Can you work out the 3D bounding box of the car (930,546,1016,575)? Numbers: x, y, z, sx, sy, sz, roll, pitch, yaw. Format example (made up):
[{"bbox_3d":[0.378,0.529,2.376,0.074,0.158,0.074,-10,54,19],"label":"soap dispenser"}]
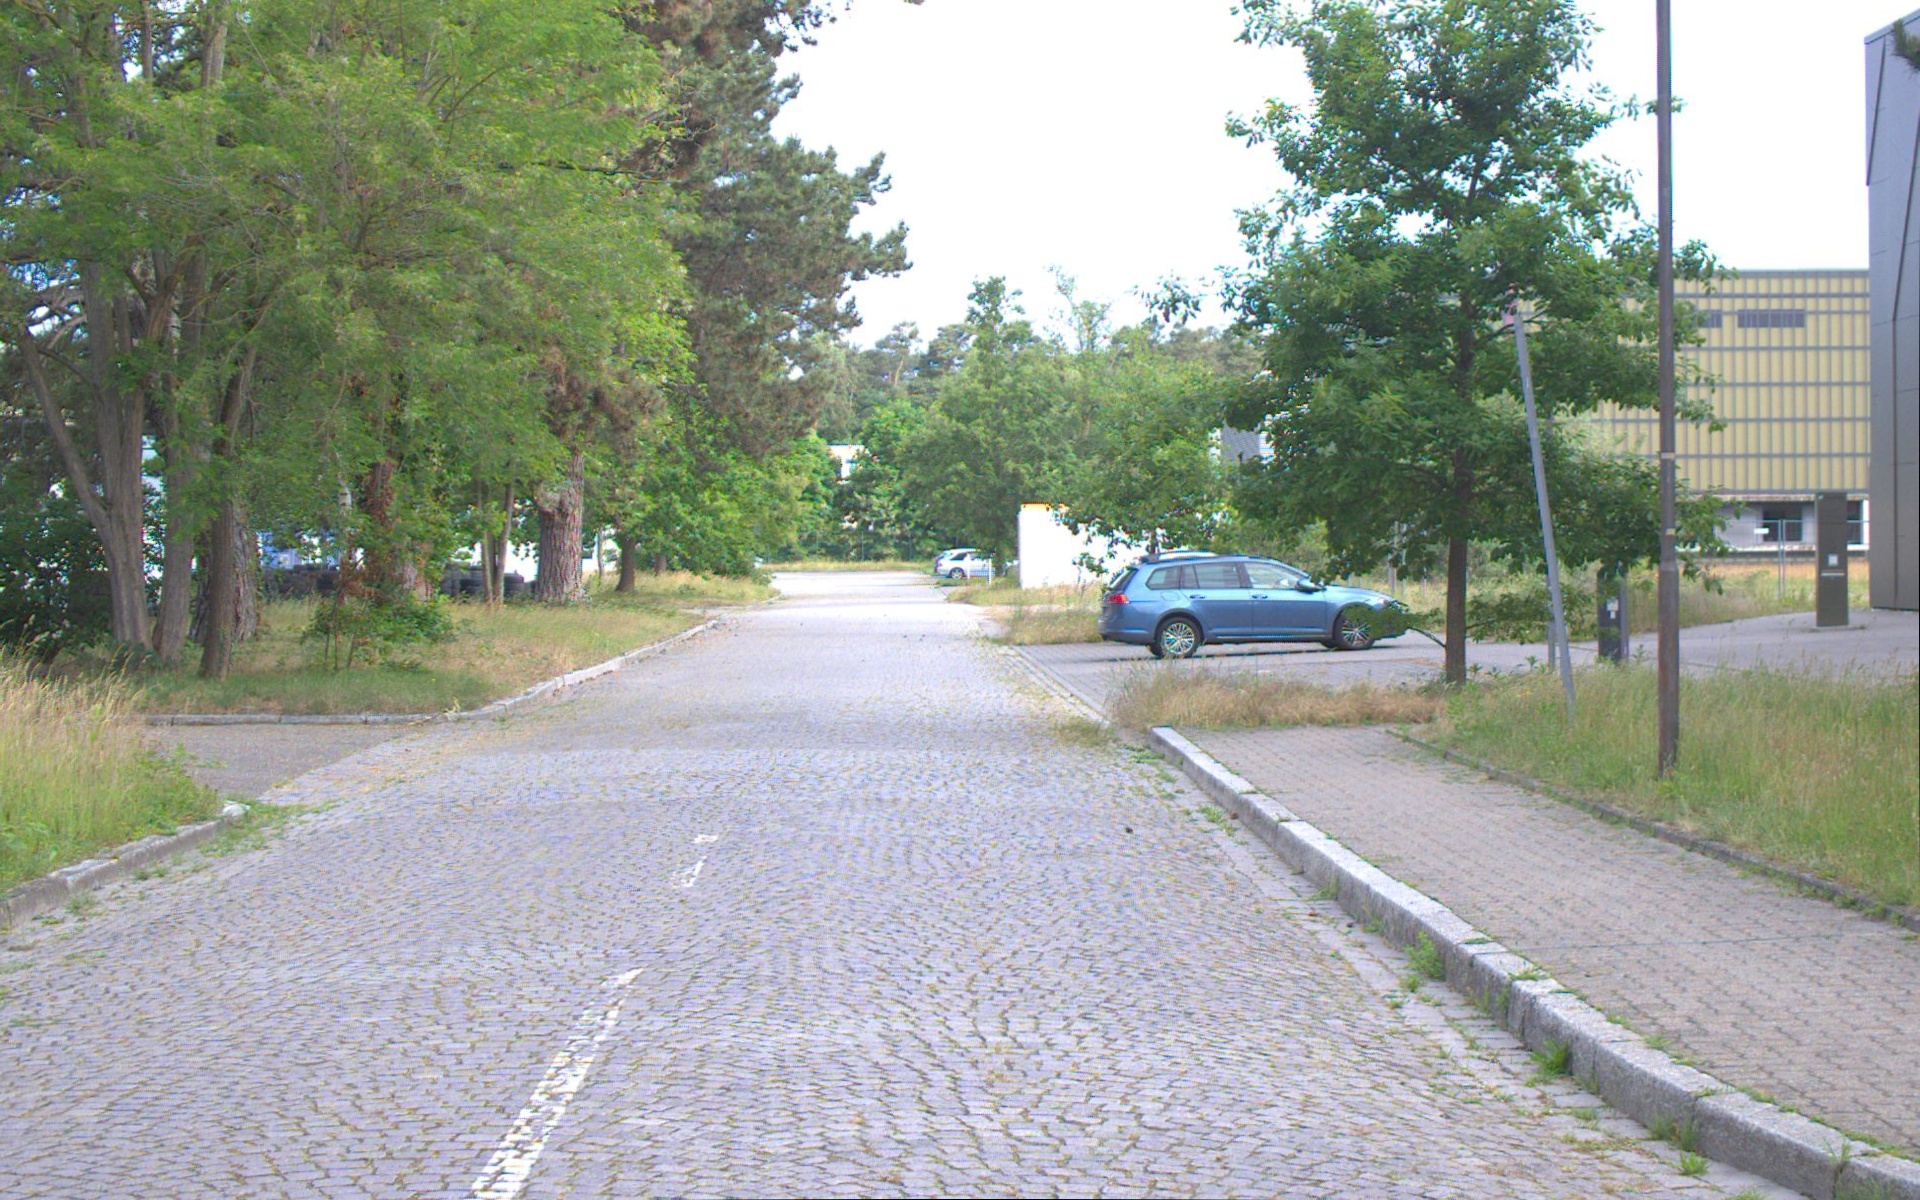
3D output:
[{"bbox_3d":[0.617,-1.937,168.333,3.986,1.393,2.001,-1,1,-7],"label":"car"}]

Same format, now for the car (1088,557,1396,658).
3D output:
[{"bbox_3d":[4.170,0.094,51.300,4.343,1.417,2.000,0,1,-3],"label":"car"}]
